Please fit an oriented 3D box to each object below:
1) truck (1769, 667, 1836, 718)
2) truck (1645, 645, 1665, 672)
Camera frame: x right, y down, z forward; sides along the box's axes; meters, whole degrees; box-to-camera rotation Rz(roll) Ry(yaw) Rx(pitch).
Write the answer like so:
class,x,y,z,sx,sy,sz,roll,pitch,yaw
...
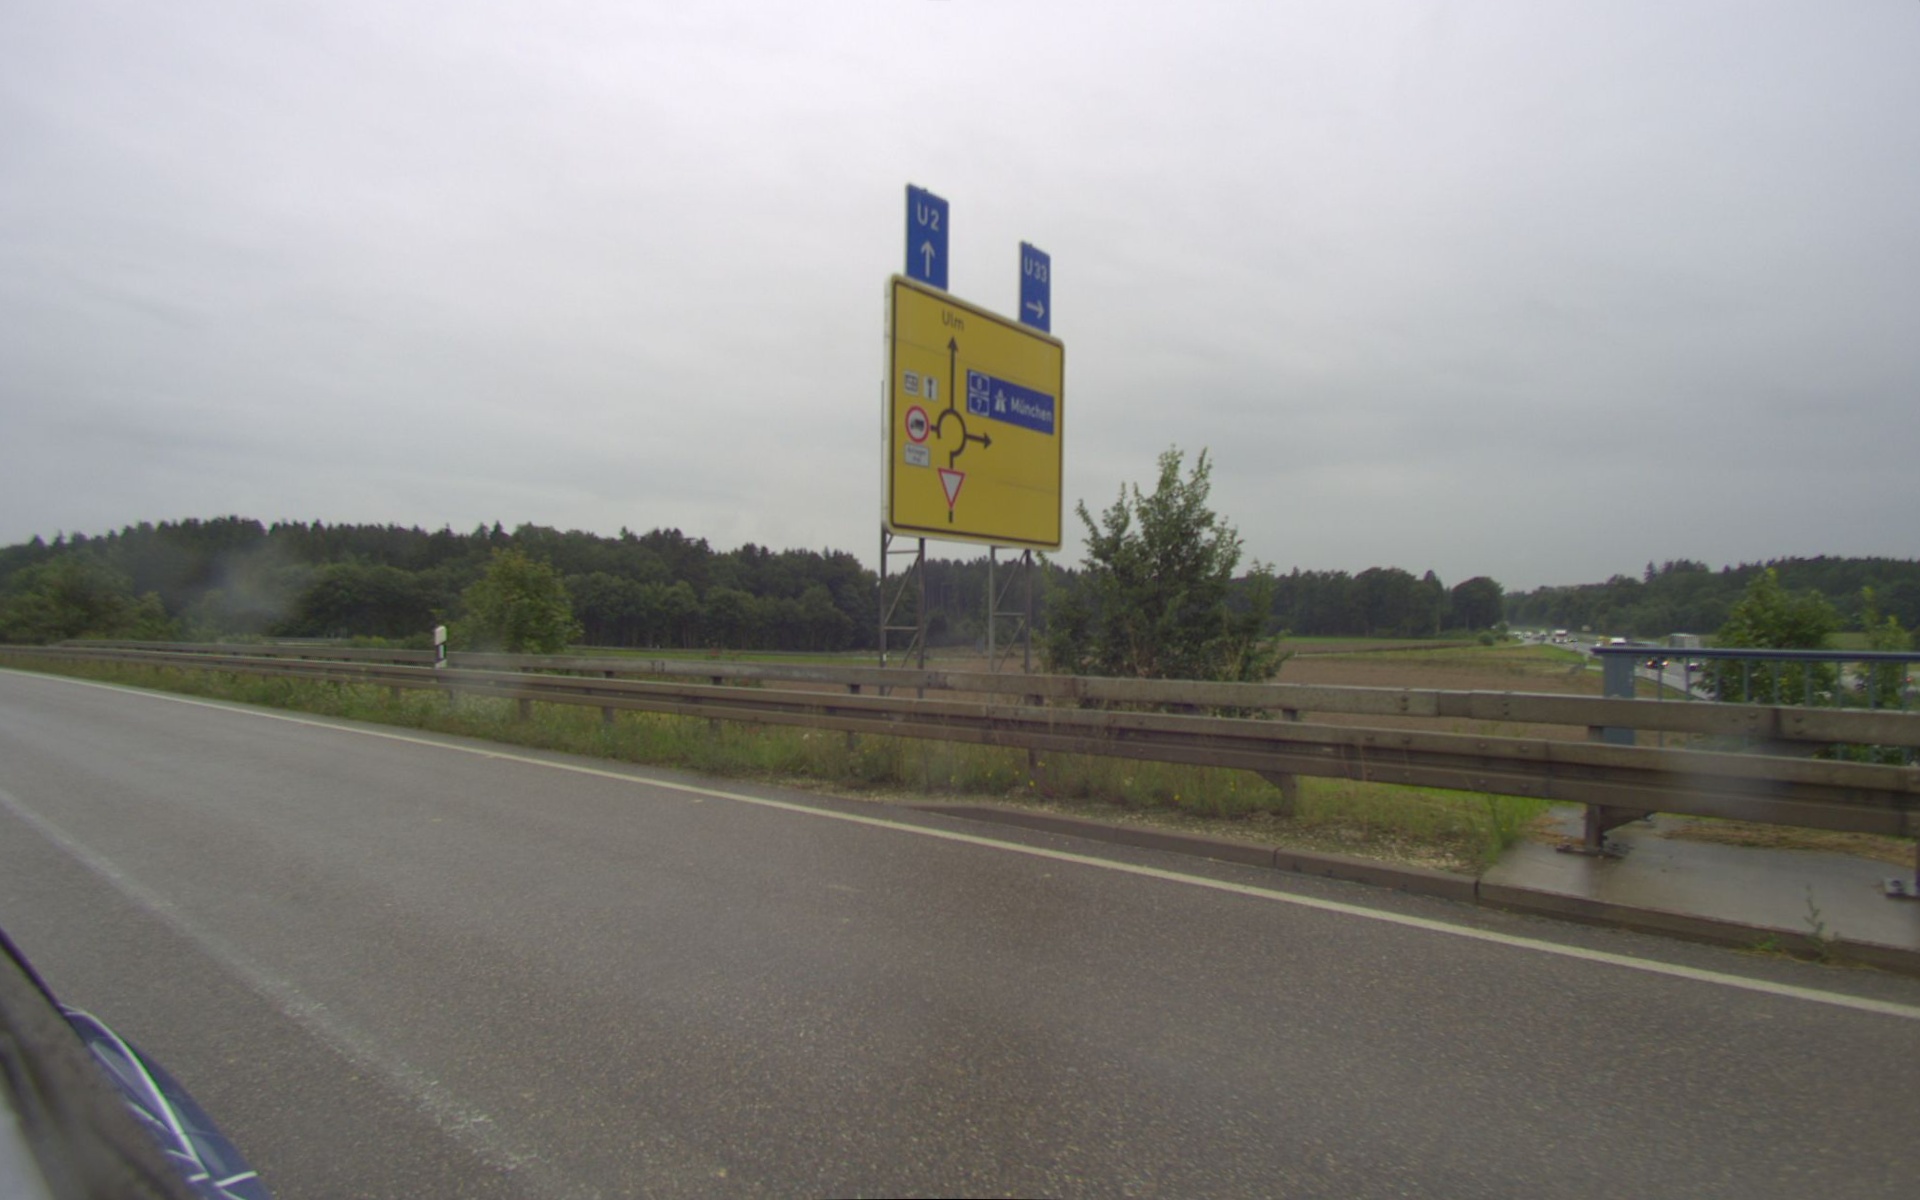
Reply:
class,x,y,z,sx,sy,sz,roll,pitch,yaw
truck,78.790,8.518,94.856,2.773,3.899,10.541,0,0,28
truck,115.951,9.700,168.850,2.233,3.727,9.744,-2,1,32
